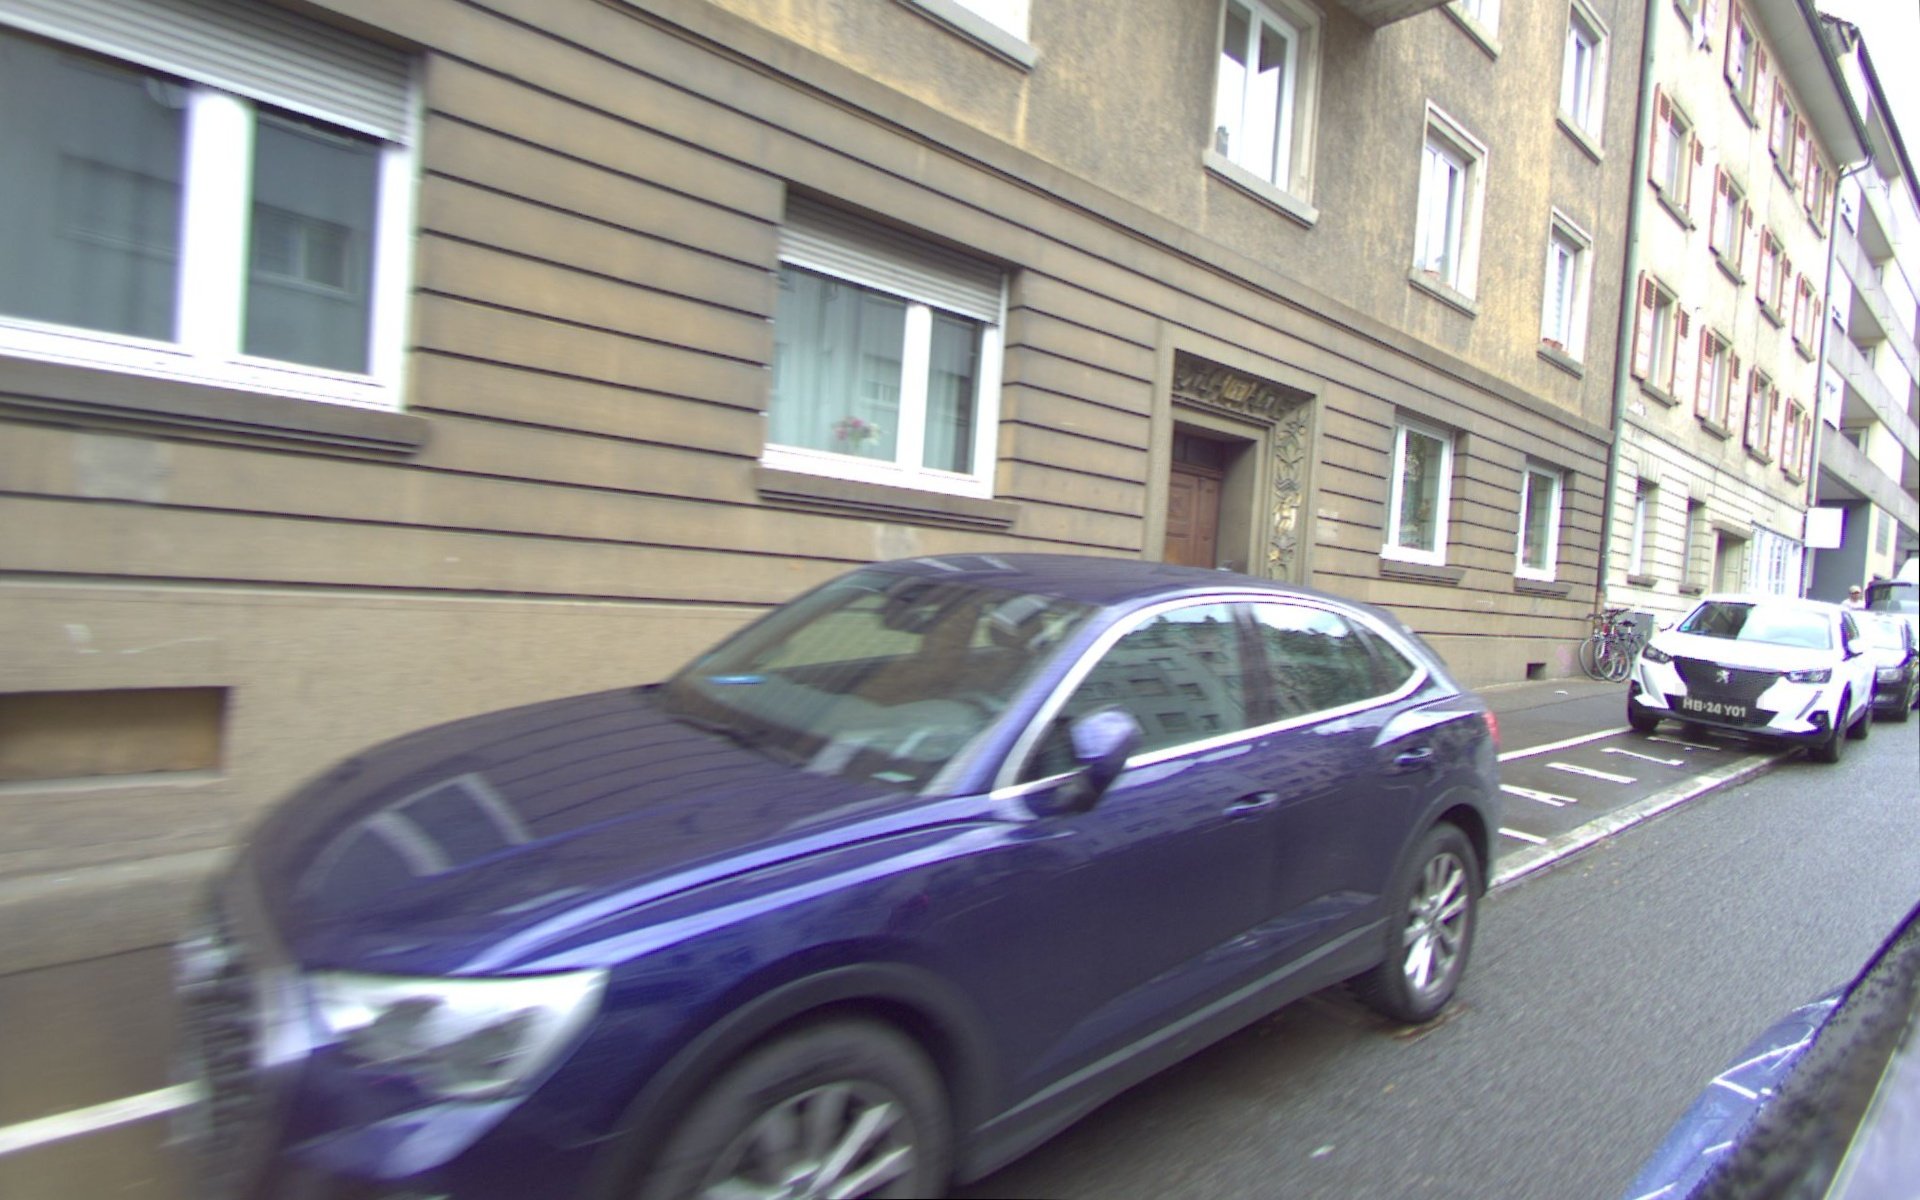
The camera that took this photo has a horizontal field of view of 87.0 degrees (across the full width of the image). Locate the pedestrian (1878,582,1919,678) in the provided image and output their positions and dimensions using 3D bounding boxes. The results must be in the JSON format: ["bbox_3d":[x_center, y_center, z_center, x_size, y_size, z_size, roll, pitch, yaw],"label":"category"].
[{"bbox_3d":[18.156,0.585,19.166,0.624,1.708,0.632,7,8,5],"label":"pedestrian"}]

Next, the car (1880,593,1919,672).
[{"bbox_3d":[20.625,0.665,21.136,4.121,1.497,1.780,-1,4,-44],"label":"car"}]

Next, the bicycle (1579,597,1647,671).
[{"bbox_3d":[10.417,0.514,16.111,2.069,1.086,0.248,-1,6,-41],"label":"bicycle"}]

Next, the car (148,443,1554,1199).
[{"bbox_3d":[0.089,0.533,3.248,4.151,1.566,1.795,1,4,-41],"label":"car"}]

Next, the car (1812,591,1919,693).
[{"bbox_3d":[16.393,0.647,17.528,4.508,1.497,1.781,-1,4,-41],"label":"car"}]

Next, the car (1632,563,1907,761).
[{"bbox_3d":[9.018,0.536,11.143,4.124,1.657,1.635,0,6,-43],"label":"car"}]

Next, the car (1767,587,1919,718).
[{"bbox_3d":[13.149,0.662,14.649,3.672,1.495,1.636,0,7,-43],"label":"car"}]

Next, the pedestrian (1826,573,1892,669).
[{"bbox_3d":[17.959,0.396,20.240,0.681,1.808,0.707,5,5,28],"label":"pedestrian"}]

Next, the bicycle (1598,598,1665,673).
[{"bbox_3d":[10.596,0.538,15.938,2.069,1.086,0.248,-1,6,-41],"label":"bicycle"}]

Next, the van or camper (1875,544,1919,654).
[{"bbox_3d":[26.654,0.054,26.727,6.296,2.732,2.193,1,3,-35],"label":"van or camper"}]
